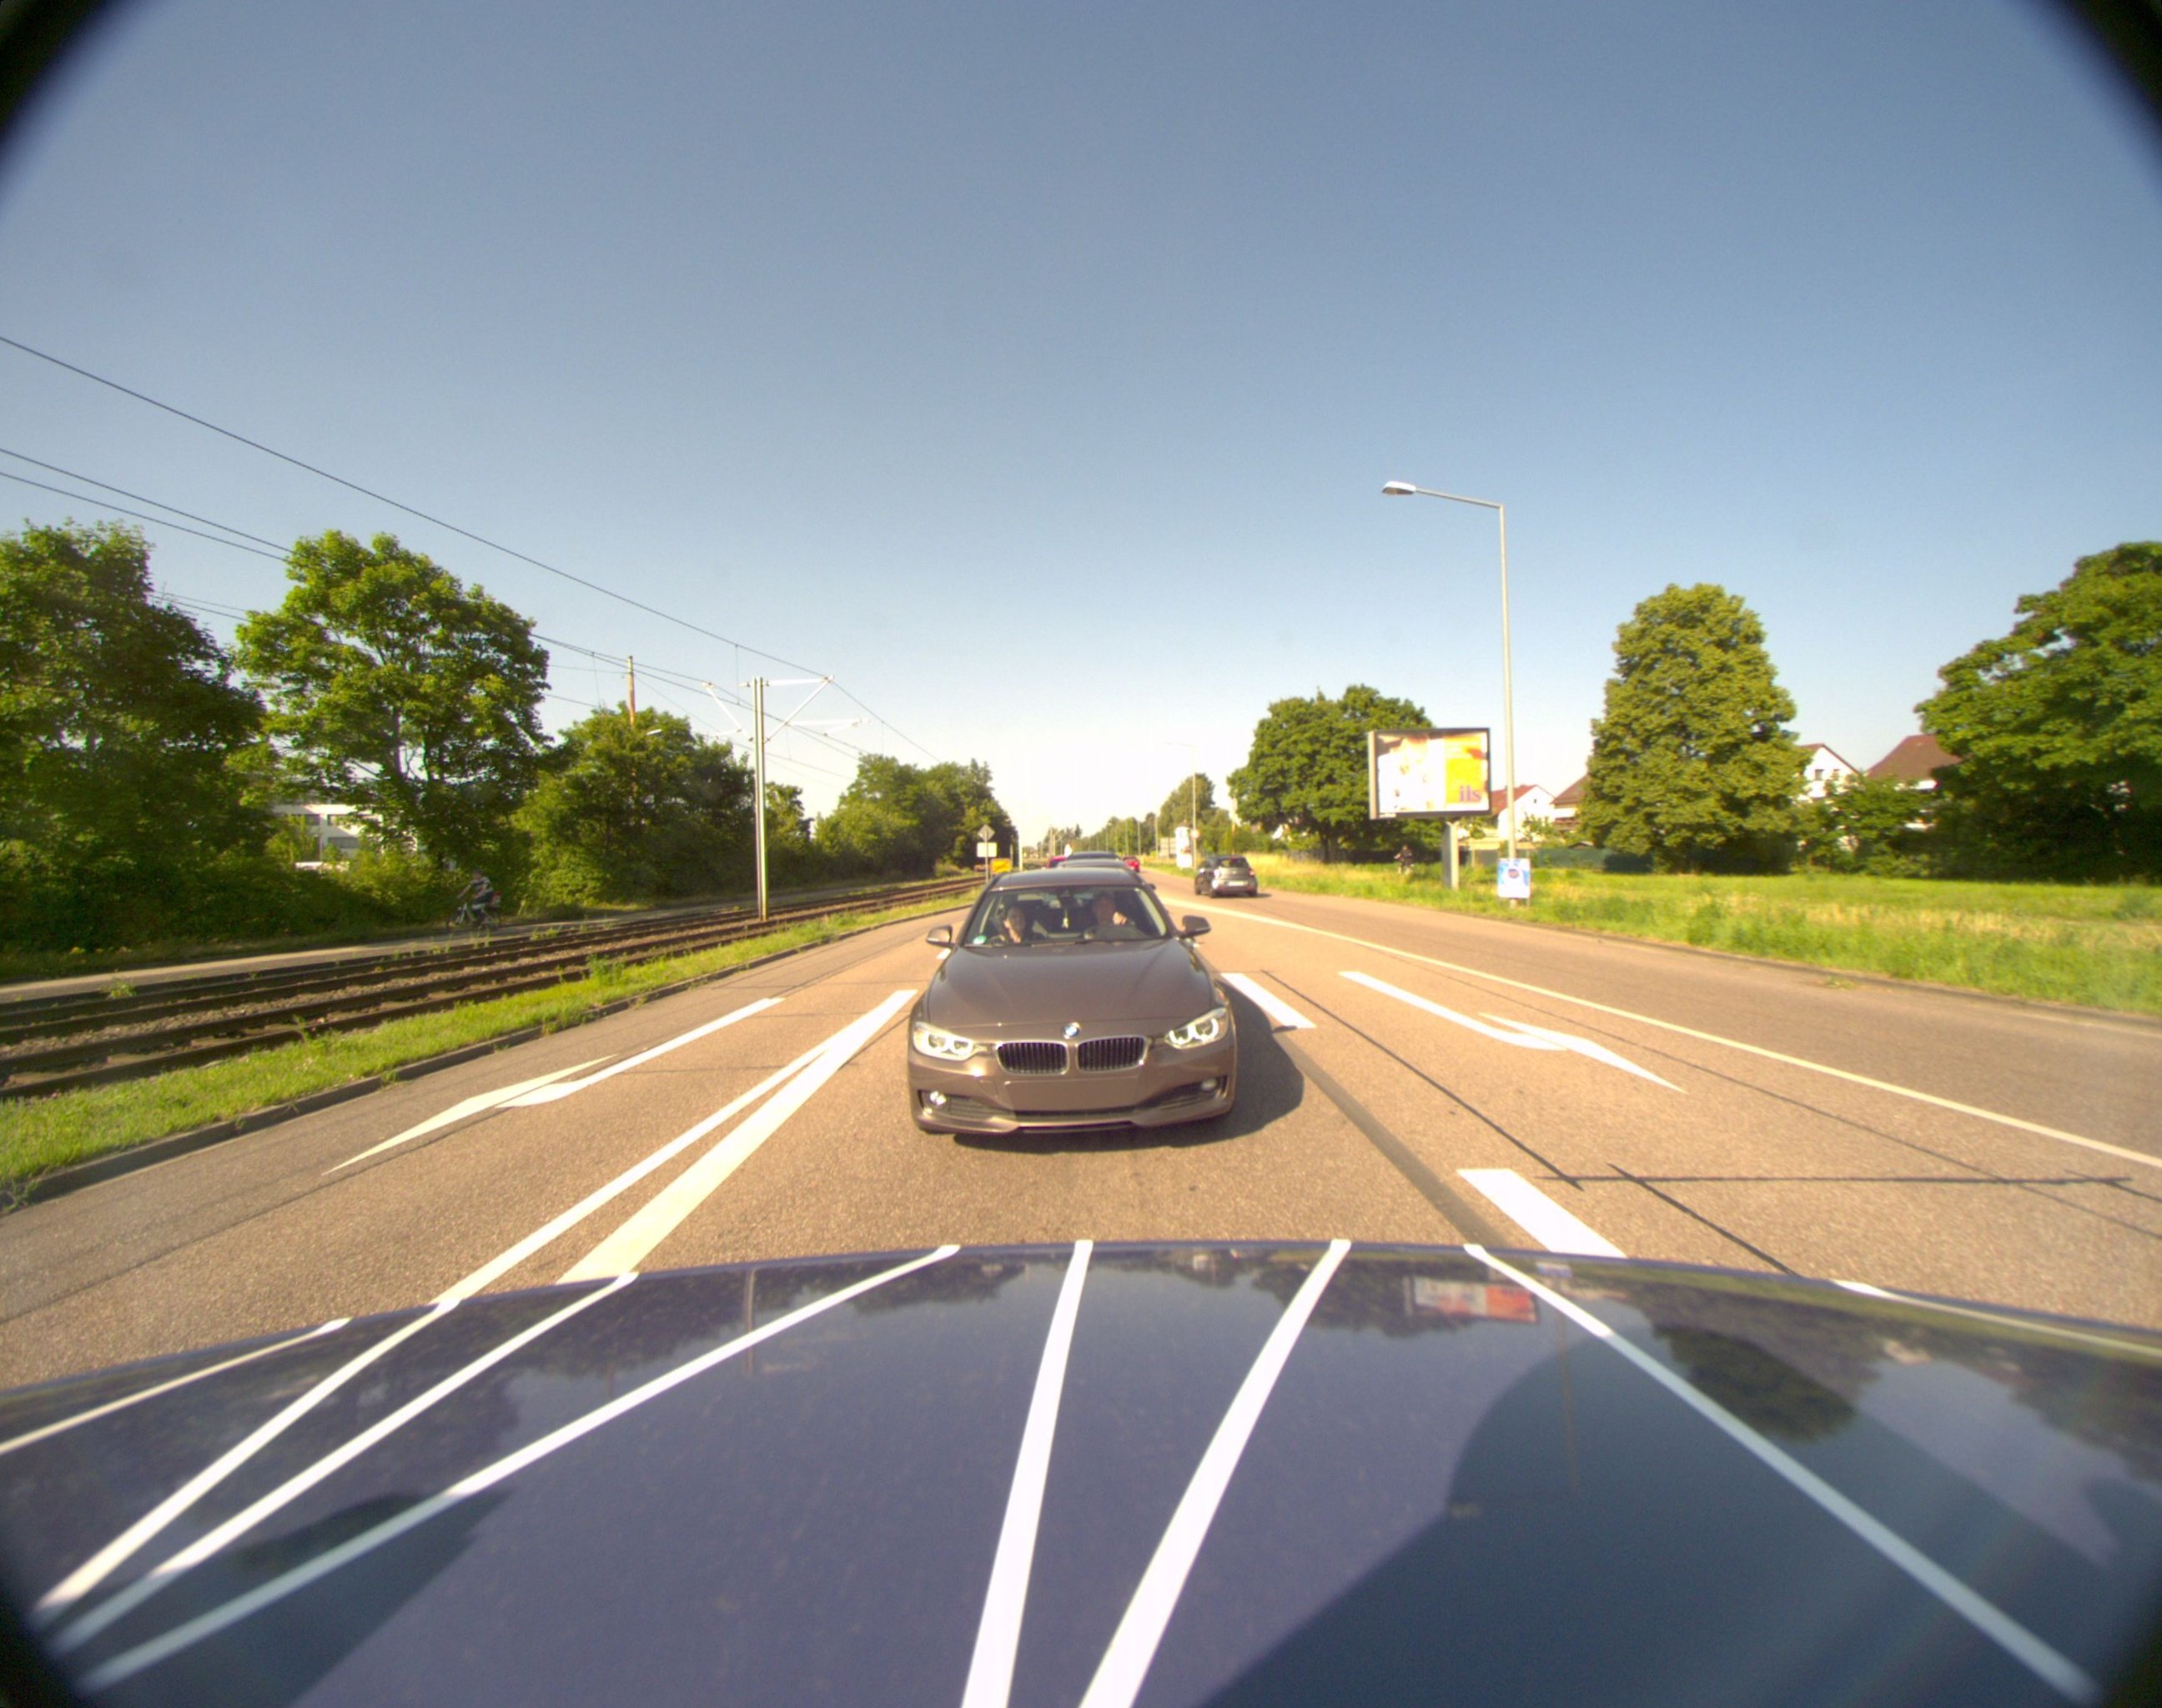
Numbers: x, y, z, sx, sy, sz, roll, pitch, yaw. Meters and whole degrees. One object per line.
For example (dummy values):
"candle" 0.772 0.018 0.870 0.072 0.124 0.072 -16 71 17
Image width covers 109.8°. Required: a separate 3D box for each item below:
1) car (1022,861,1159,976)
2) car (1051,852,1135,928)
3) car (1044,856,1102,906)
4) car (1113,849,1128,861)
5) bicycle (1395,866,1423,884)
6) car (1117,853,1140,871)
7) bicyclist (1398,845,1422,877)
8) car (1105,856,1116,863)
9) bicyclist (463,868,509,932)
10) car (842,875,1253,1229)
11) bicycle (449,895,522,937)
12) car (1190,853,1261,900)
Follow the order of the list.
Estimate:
"car" 0.147 0.898 12.647 1.821 1.481 4.611 -1 0 0
"car" 0.295 0.798 19.425 1.821 1.641 4.611 -2 0 0
"car" -0.237 0.846 25.982 1.807 1.498 4.197 -1 0 0
"car" 5.167 0.146 98.915 1.783 1.469 3.915 -1 0 4
"bicycle" 15.203 0.961 35.234 0.455 0.749 1.834 -1 0 -1
"car" 3.979 0.653 63.900 1.698 1.489 3.676 0 0 0
"bicyclist" 15.223 0.320 35.183 0.638 1.420 1.071 -1 1 -1
"car" 5.968 1.128 153.951 1.784 1.469 4.285 -1 0 -4
"bicyclist" -17.368 1.335 22.177 0.708 1.797 0.718 -1 1 3
"car" -0.125 0.973 5.707 1.821 1.416 4.461 -2 0 1
"bicycle" -17.365 1.791 22.206 0.547 1.041 1.874 -1 0 3
"car" 5.204 0.775 27.858 1.638 1.551 3.674 -1 0 -4
